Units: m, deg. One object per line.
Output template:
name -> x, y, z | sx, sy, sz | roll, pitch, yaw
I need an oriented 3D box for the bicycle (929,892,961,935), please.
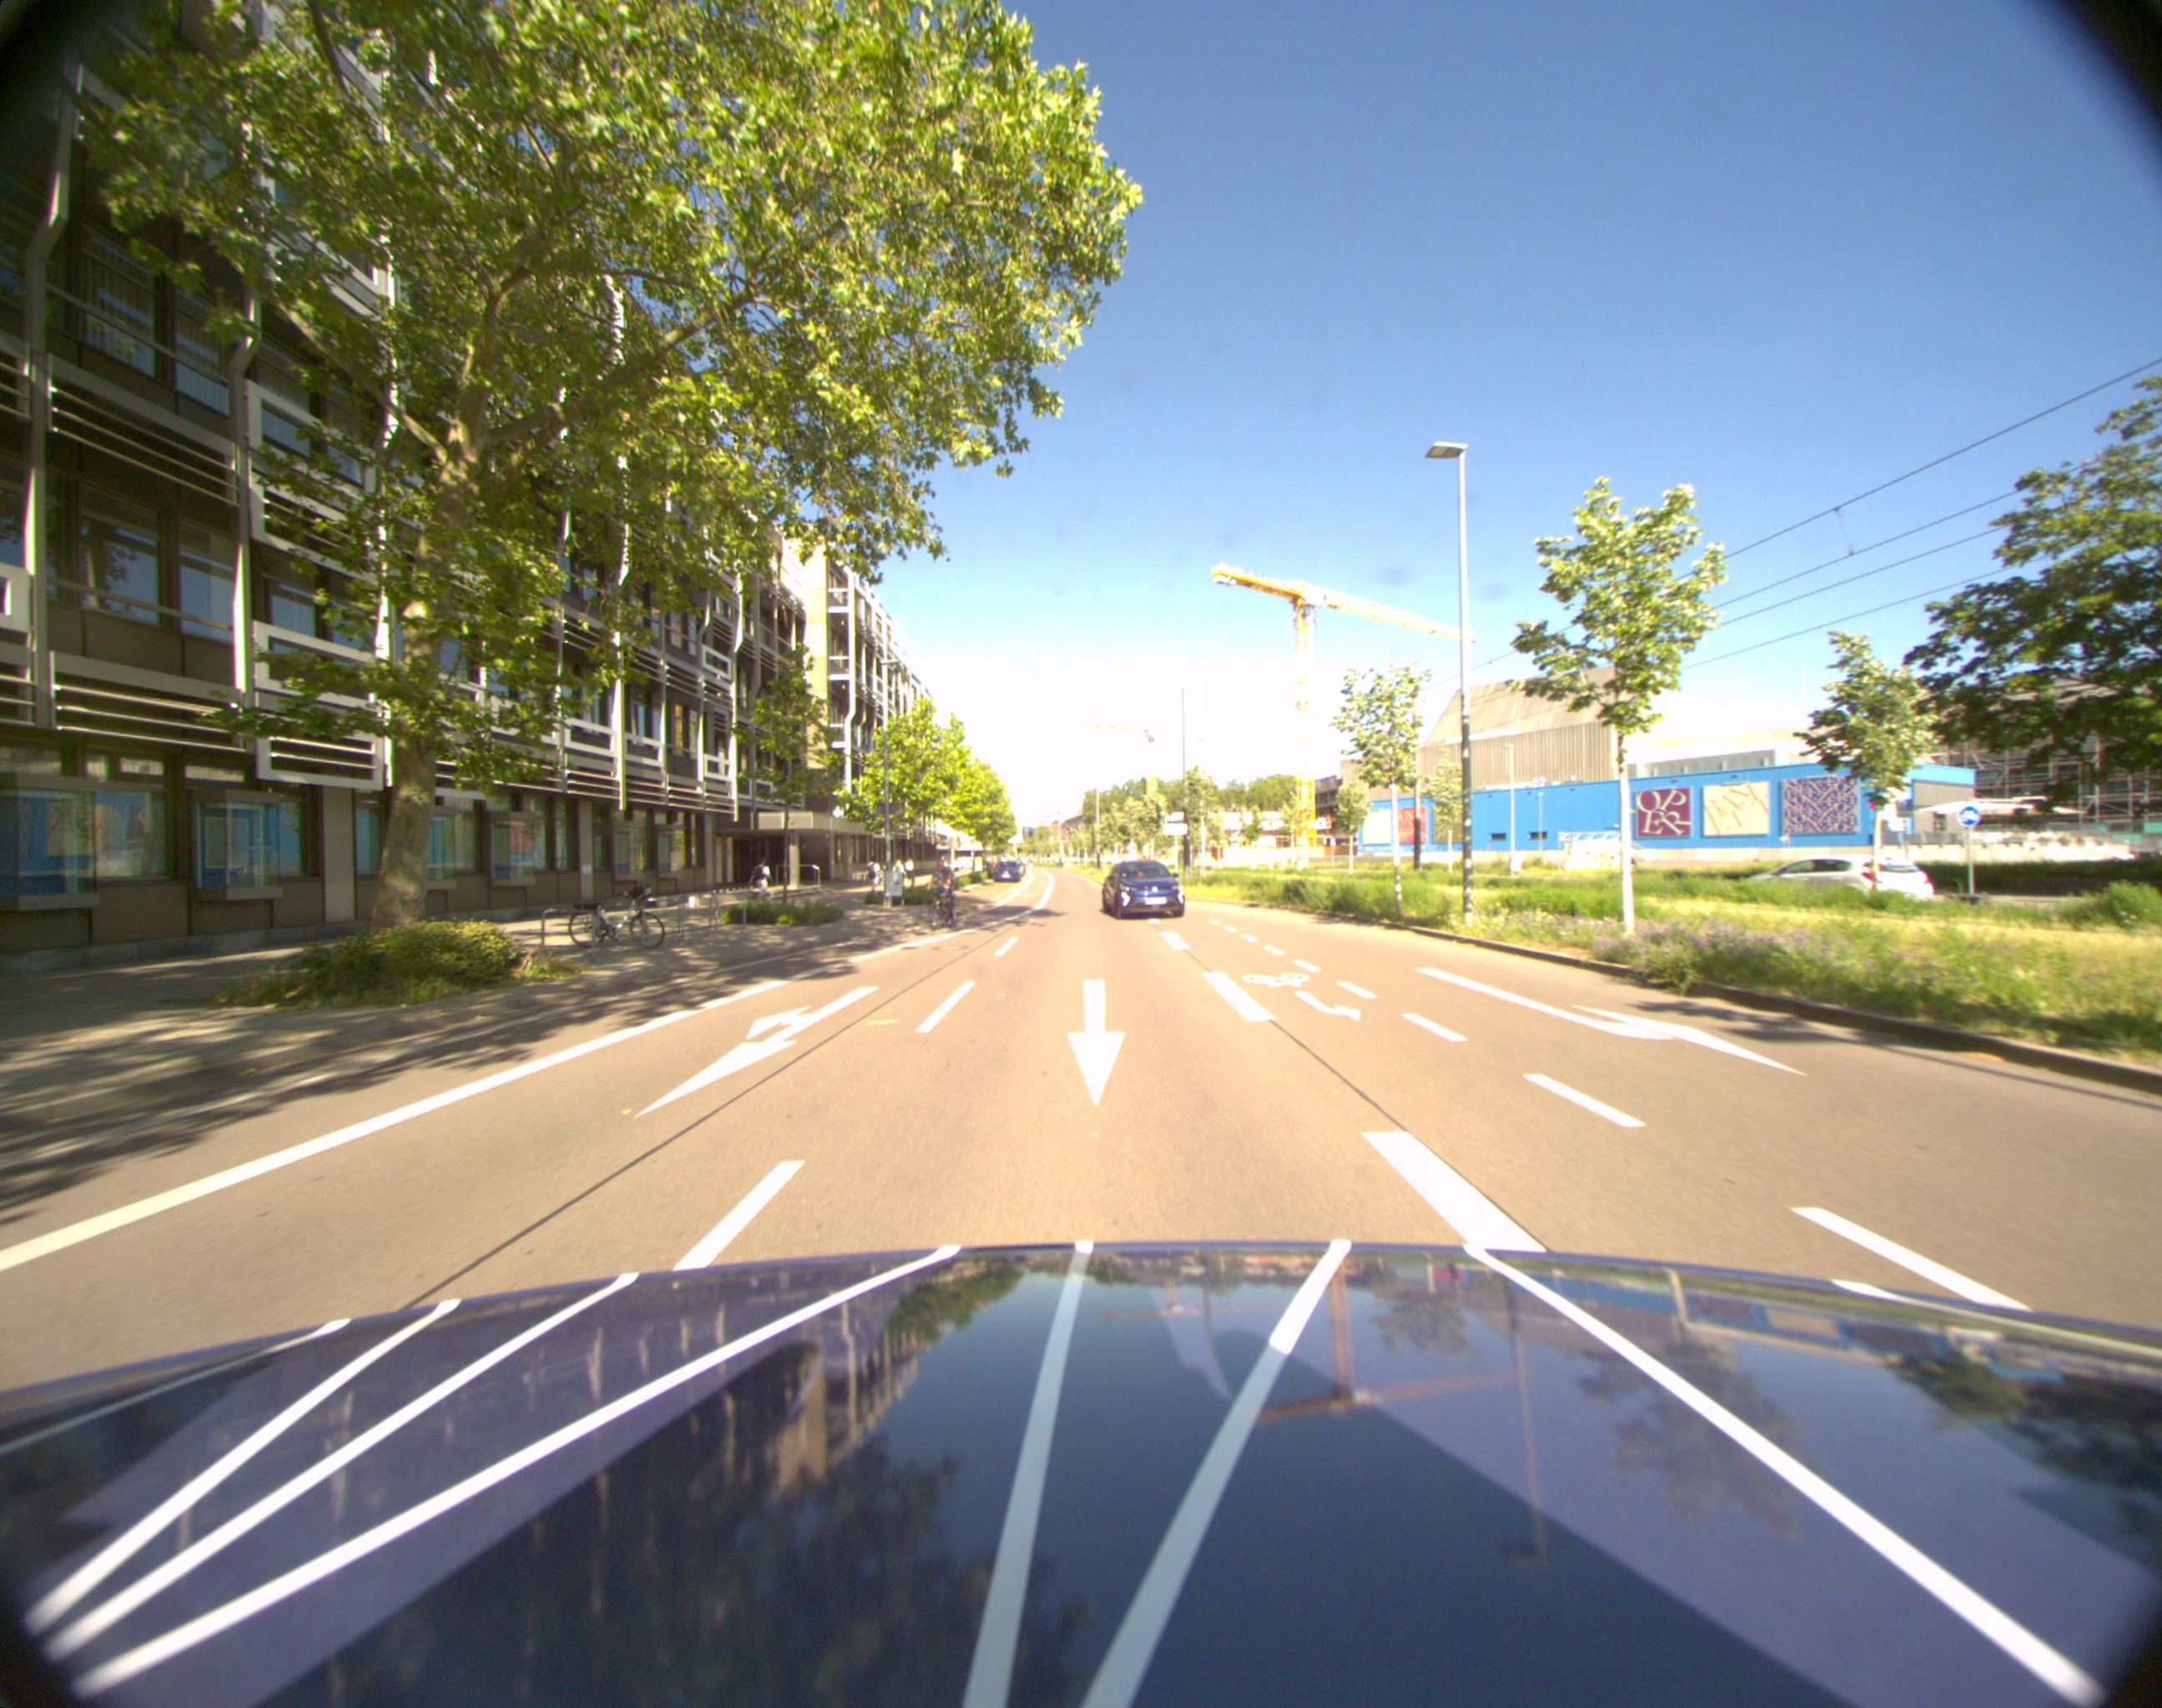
bicycle -> -3.450, 1.481, 19.390 | 0.499, 0.900, 2.196 | -3, 0, -4

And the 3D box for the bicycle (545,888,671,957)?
bicycle -> -8.733, 1.260, 14.079 | 1.942, 1.229, 0.579 | 0, 0, -2

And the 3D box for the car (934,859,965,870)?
car -> -19.828, 1.581, 114.700 | 4.411, 1.535, 1.851 | -1, 0, -15

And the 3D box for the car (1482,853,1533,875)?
car -> 33.032, 0.740, 58.928 | 1.562, 1.527, 3.856 | -3, 1, -3

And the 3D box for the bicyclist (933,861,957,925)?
bicyclist -> -3.476, 0.984, 19.401 | 0.514, 1.592, 0.536 | -1, 1, -4

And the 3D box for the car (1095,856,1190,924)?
car -> 1.626, 0.932, 21.512 | 1.750, 1.613, 4.150 | -4, 0, -7

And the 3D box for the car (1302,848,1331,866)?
car -> 24.509, 0.284, 79.081 | 1.802, 1.787, 3.999 | -3, 1, 1

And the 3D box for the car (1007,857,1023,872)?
car -> -6.754, 1.022, 77.938 | 1.623, 1.456, 4.153 | 0, 0, -4

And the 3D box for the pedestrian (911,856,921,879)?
pedestrian -> -11.628, 0.948, 53.493 | 0.512, 1.613, 0.674 | 1, 0, 0

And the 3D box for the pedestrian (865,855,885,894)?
pedestrian -> -9.191, 0.912, 33.924 | 0.649, 1.718, 0.803 | -1, 0, 0

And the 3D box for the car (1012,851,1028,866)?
car -> -7.198, 0.482, 89.456 | 1.753, 1.649, 4.467 | -1, 0, -5

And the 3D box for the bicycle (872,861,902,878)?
bicycle -> -12.892, 1.014, 50.380 | 1.862, 1.091, 0.427 | 1, 1, 2

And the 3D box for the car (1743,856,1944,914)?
car -> 20.580, 0.770, 20.761 | 1.637, 1.390, 3.833 | -1, 0, -1

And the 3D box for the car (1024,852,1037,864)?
car -> -8.609, 0.674, 130.371 | 1.822, 1.783, 3.999 | -3, 1, 1

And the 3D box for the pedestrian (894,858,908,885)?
pedestrian -> -9.771, 0.937, 41.292 | 0.512, 1.466, 0.736 | -1, 0, 0

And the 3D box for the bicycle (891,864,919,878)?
bicycle -> -12.351, 1.201, 53.261 | 1.862, 0.933, 0.427 | 1, 1, 2

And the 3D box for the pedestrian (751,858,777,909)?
pedestrian -> -10.700, 0.974, 25.661 | 0.512, 1.691, 0.774 | -1, 0, 0

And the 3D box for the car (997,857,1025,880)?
car -> -5.448, 1.093, 59.425 | 1.854, 1.647, 4.847 | 0, 0, -2
